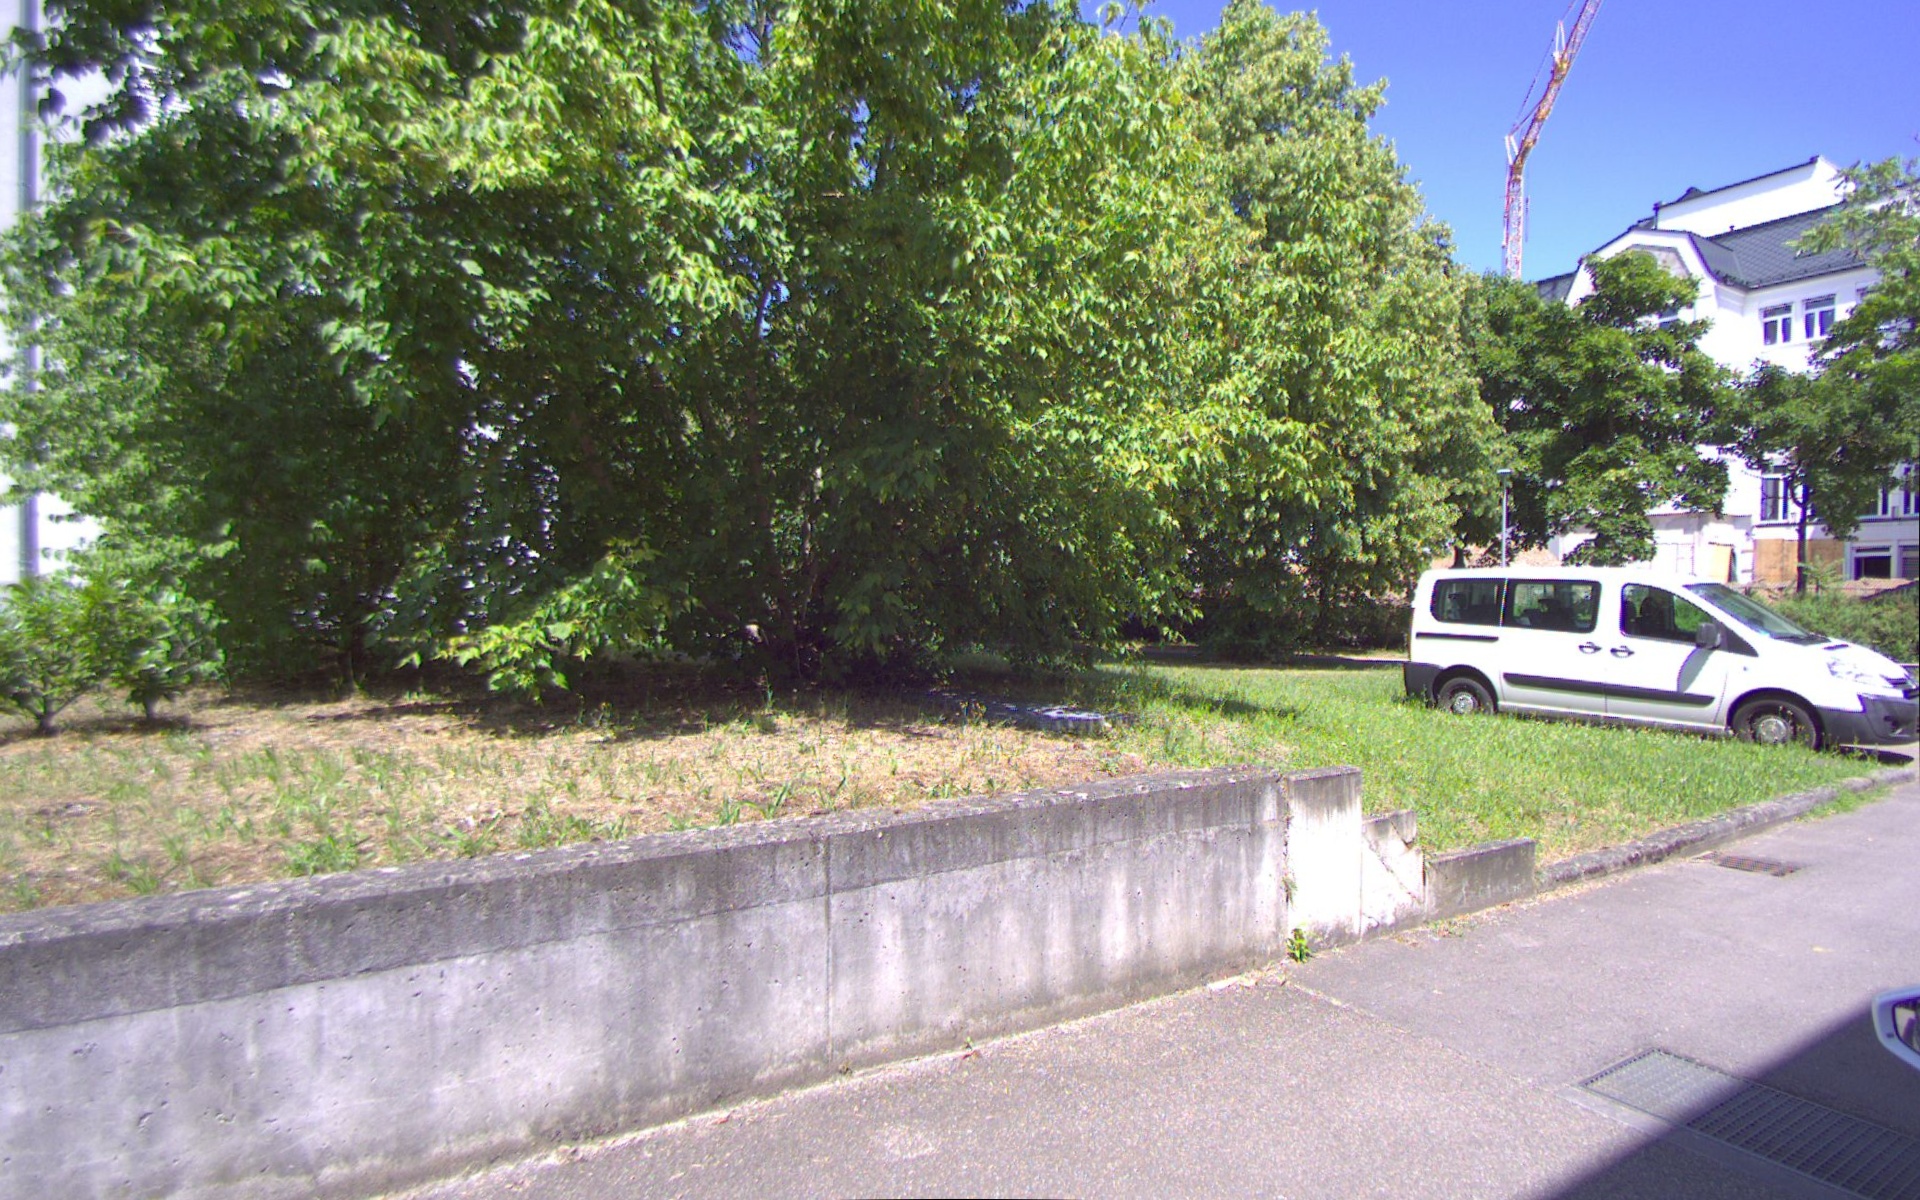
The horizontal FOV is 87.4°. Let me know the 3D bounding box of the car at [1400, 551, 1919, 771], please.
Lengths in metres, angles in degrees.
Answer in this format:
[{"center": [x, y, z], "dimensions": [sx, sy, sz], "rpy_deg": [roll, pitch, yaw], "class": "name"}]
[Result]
[{"center": [7.746, 0.575, 11.344], "dimensions": [1.982, 1.936, 4.753], "rpy_deg": [1, -1, -37], "class": "car"}]
